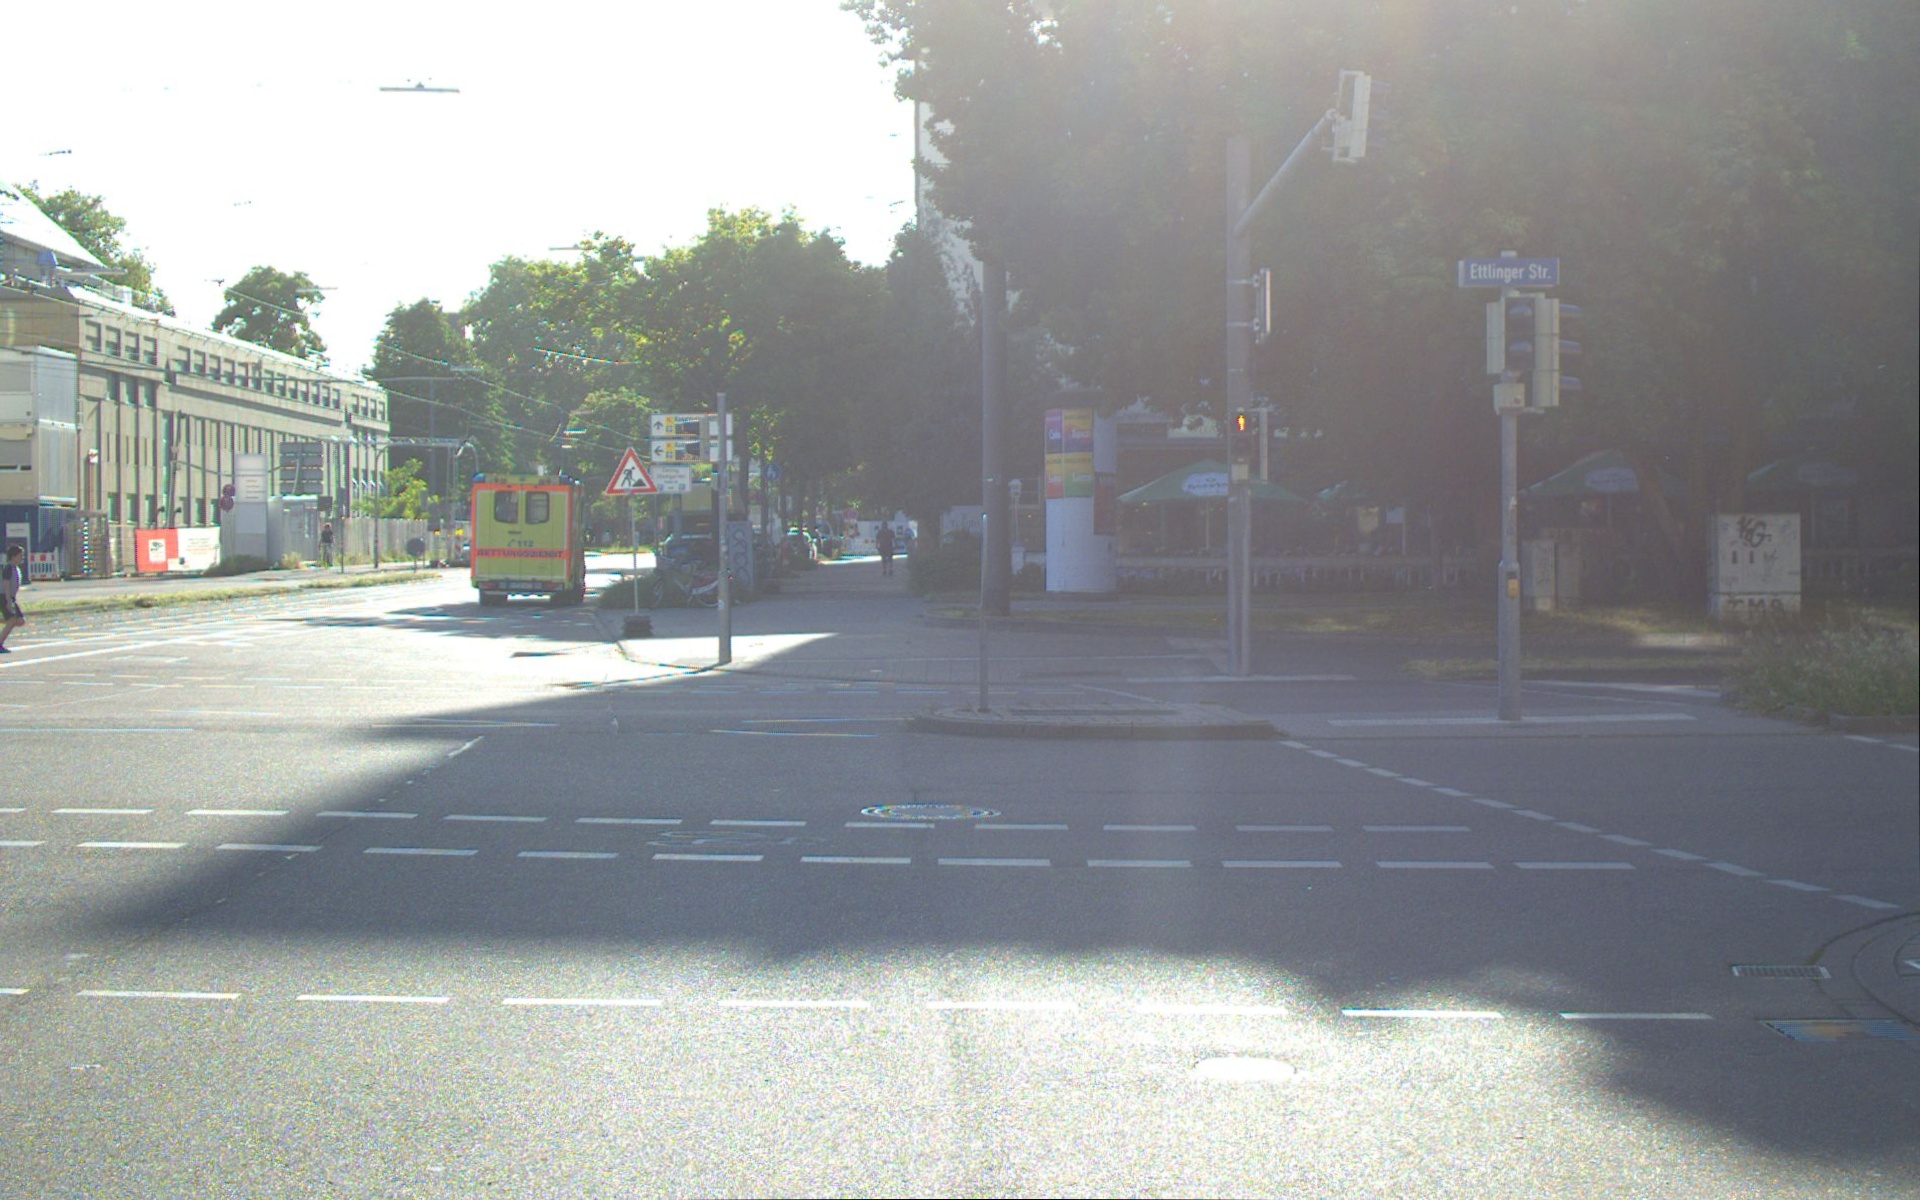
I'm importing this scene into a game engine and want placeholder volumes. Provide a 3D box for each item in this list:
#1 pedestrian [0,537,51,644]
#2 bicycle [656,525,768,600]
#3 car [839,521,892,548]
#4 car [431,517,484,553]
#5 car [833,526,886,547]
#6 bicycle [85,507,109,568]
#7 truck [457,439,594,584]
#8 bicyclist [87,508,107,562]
[{"bbox_3d":[-11.904,-0.121,42.899,0.993,1.313,0.767,-1,1,-9],"label":"pedestrian"},{"bbox_3d":[-5.859,-0.882,81.401,2.547,1.737,1.037,1,0,0],"label":"bicycle"},{"bbox_3d":[-5.888,-4.066,213.441,3.214,1.583,1.446,1,0,-4],"label":"car"},{"bbox_3d":[-22.846,-2.968,156.412,1.894,1.601,4.501,-1,1,-2],"label":"car"},{"bbox_3d":[-6.166,-3.885,211.168,3.217,1.259,1.373,1,0,-1],"label":"car"},{"bbox_3d":[-32.667,-2.361,130.200,0.571,2.288,1.422,0,1,-2],"label":"bicycle"},{"bbox_3d":[-9.360,-1.887,74.551,2.716,3.005,6.491,0,1,-5],"label":"truck"},{"bbox_3d":[-32.665,-2.469,130.152,0.571,2.017,0.762,0,1,-2],"label":"bicyclist"}]
